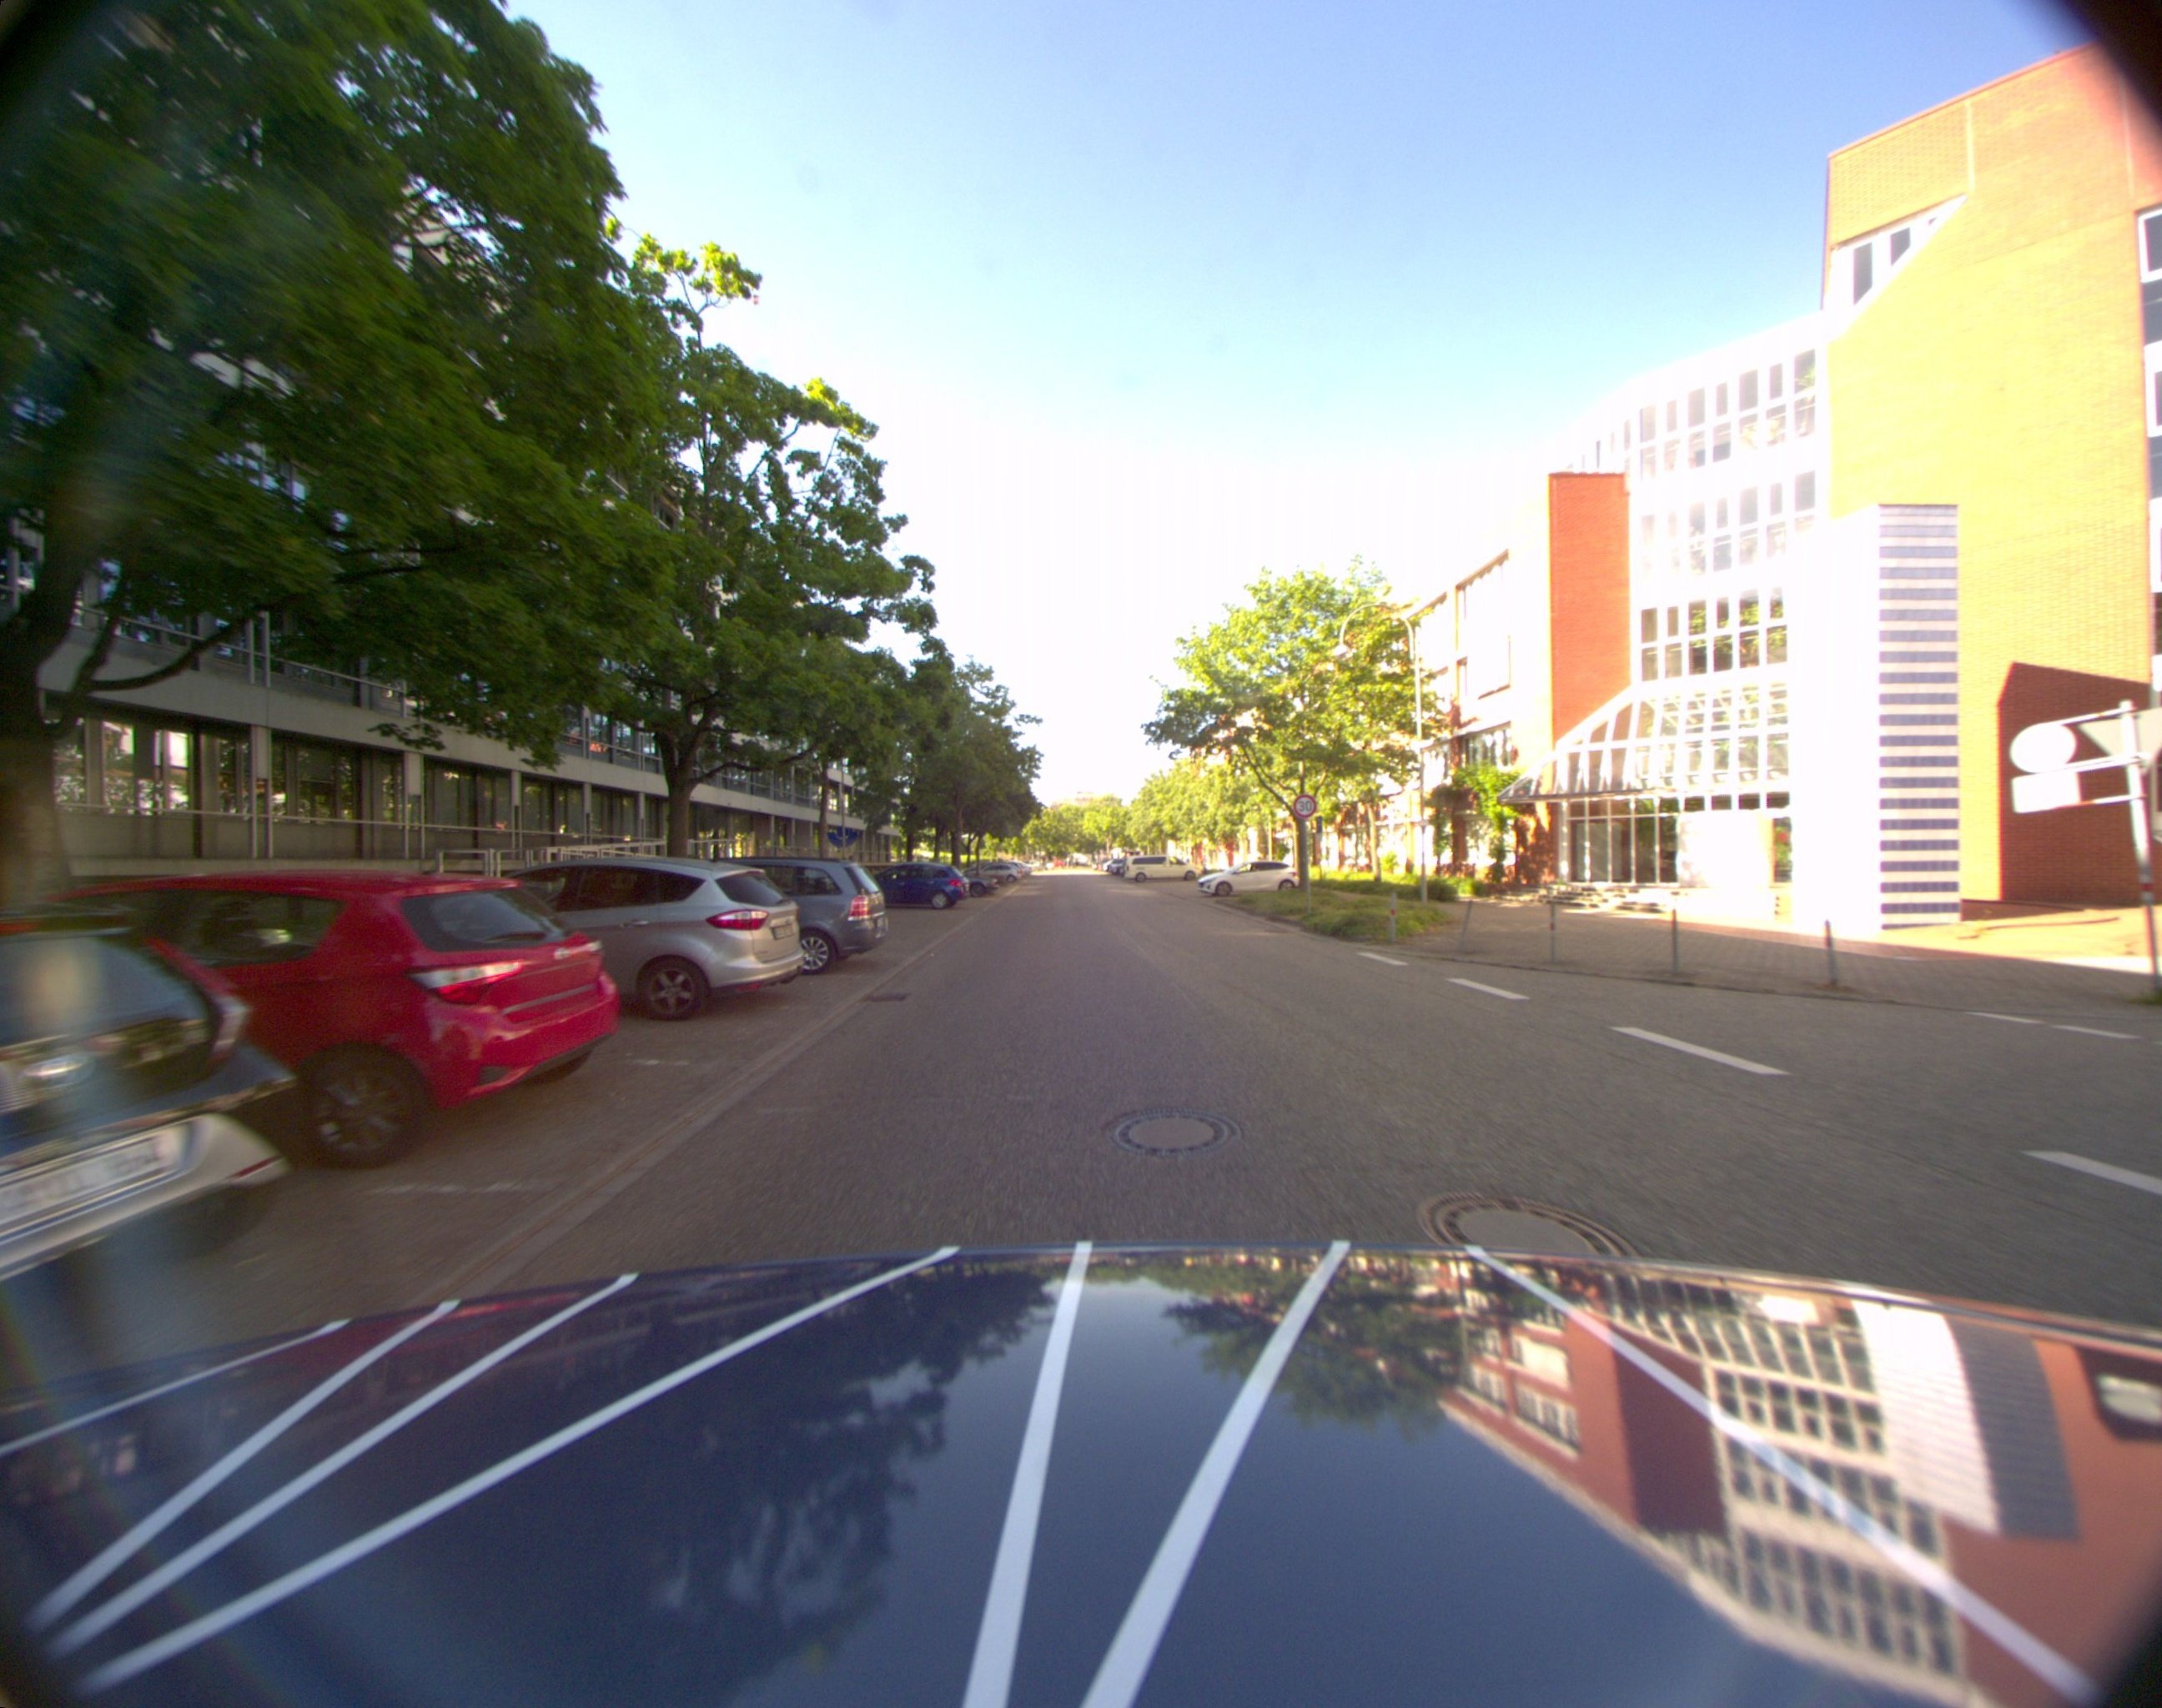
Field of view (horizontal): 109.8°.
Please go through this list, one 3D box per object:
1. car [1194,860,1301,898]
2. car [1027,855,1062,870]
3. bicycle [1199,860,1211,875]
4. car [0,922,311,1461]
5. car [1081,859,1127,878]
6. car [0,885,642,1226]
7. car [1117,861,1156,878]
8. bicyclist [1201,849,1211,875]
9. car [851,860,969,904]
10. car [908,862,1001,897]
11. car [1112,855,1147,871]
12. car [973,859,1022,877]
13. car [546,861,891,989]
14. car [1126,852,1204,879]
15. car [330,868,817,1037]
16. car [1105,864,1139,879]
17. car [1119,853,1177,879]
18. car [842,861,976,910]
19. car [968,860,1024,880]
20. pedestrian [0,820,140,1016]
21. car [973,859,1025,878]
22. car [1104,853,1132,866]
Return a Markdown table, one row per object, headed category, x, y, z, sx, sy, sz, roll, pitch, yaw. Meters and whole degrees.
| category | x | y | z | sx | sy | sz | roll | pitch | yaw |
| --- | --- | --- | --- | --- | --- | --- | --- | --- | --- |
| car | 6.848 | 1.006 | 31.508 | 4.004 | 1.411 | 1.618 | -2 | 0 | -3 |
| car | -3.901 | 0.920 | 80.688 | 3.555 | 1.544 | 1.743 | 1 | -2 | -5 |
| bicycle | 9.594 | 1.051 | 58.823 | 0.637 | 1.092 | 2.155 | -1 | 0 | 2 |
| car | -5.156 | 0.970 | 2.083 | 4.137 | 1.452 | 1.659 | 1 | 0 | -6 |
| car | 2.032 | 1.268 | 68.268 | 4.007 | 1.637 | 1.795 | 0 | 0 | -1 |
| car | -5.181 | 0.975 | 4.429 | 4.137 | 1.508 | 1.835 | 0 | 0 | -6 |
| car | 5.172 | 1.470 | 70.483 | 3.452 | 1.546 | 1.594 | 0 | 0 | -2 |
| bicyclist | 9.650 | 0.601 | 58.770 | 0.633 | 2.002 | 0.609 | -2 | 1 | 1 |
| car | -6.234 | 1.012 | 27.981 | 3.915 | 1.486 | 1.587 | 1 | 0 | 1 |
| car | -5.540 | 1.116 | 33.607 | 3.917 | 1.374 | 1.586 | 1 | 1 | -5 |
| car | 4.991 | 0.905 | 78.925 | 3.452 | 1.619 | 1.594 | 0 | 0 | -2 |
| car | -6.937 | 1.154 | 63.539 | 3.999 | 1.470 | 1.803 | 1 | 0 | -5 |
| car | -5.027 | 0.939 | 11.090 | 4.137 | 1.657 | 1.907 | 0 | 0 | -6 |
| car | 5.892 | 0.808 | 53.984 | 5.318 | 1.875 | 2.000 | 0 | 0 | -1 |
| car | -5.103 | 0.948 | 8.062 | 3.997 | 1.575 | 1.714 | 0 | 0 | 0 |
| car | 4.326 | 1.859 | 80.754 | 3.452 | 1.647 | 1.594 | 0 | 0 | -2 |
| car | 5.589 | 0.962 | 63.492 | 4.635 | 2.156 | 2.000 | 0 | 0 | -1 |
| car | -5.665 | 1.018 | 25.311 | 3.996 | 1.486 | 1.714 | 1 | 0 | 1 |
| car | -6.148 | 1.164 | 55.534 | 3.999 | 1.470 | 1.803 | 0 | 0 | -5 |
| pedestrian | -10.382 | 0.600 | 7.408 | 1.037 | 1.788 | 1.018 | -2 | 1 | -3 |
| car | -6.535 | 1.158 | 60.806 | 3.999 | 1.470 | 1.803 | 1 | 0 | -5 |
| car | 4.709 | 0.724 | 97.787 | 3.452 | 1.647 | 1.594 | 0 | 0 | -2 |
